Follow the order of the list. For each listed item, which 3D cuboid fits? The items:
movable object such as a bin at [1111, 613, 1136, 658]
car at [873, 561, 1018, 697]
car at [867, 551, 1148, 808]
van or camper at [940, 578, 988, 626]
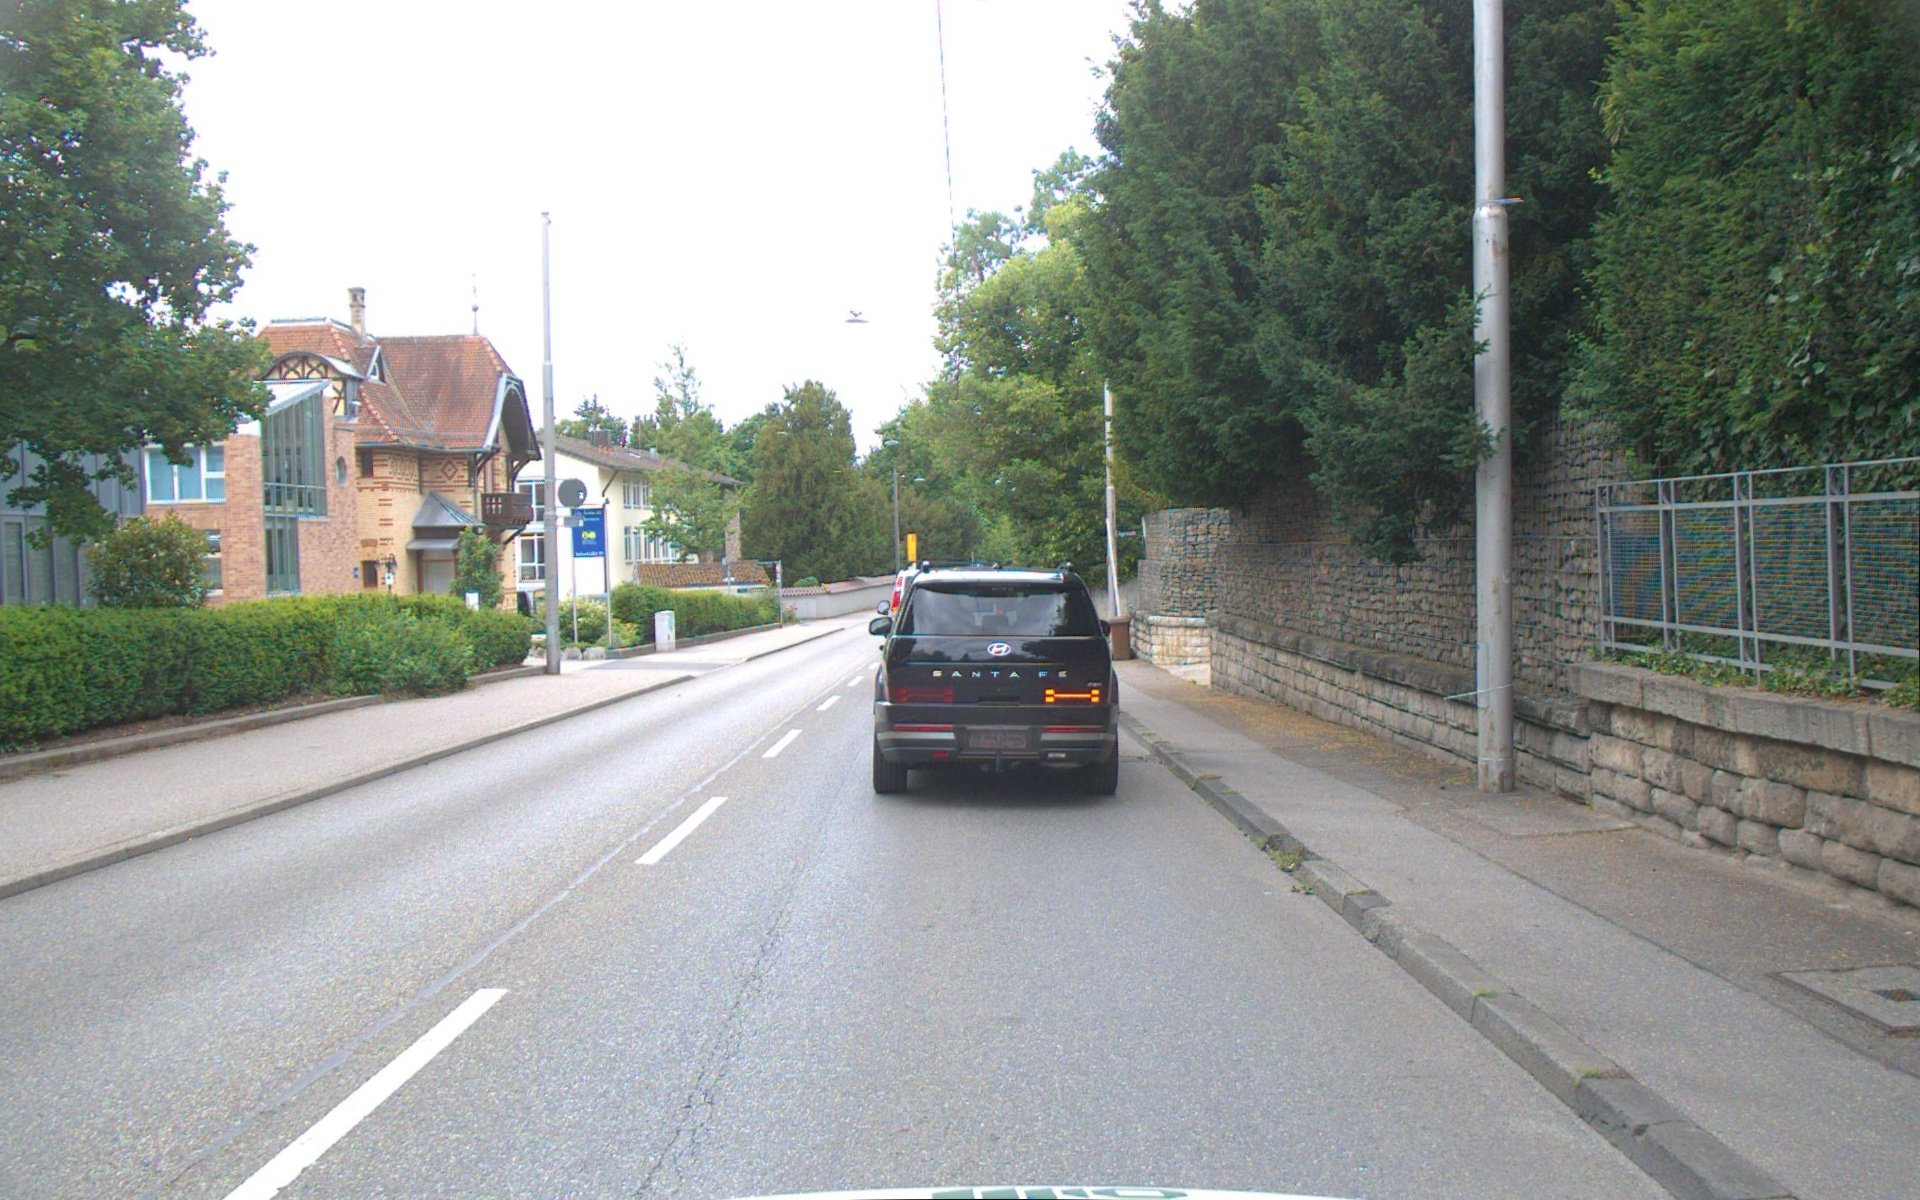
[{"bbox_3d":[3.476,0.753,35.166,0.435,0.925,0.394,-4,0,9],"label":"movable object such as a bin"},{"bbox_3d":[-0.320,0.412,26.703,1.919,1.990,4.218,1,0,-6],"label":"car"},{"bbox_3d":[0.342,0.534,13.616,1.917,1.743,4.223,1,1,0],"label":"car"},{"bbox_3d":[0.216,0.062,75.923,1.640,2.042,3.942,-2,2,8],"label":"van or camper"}]
